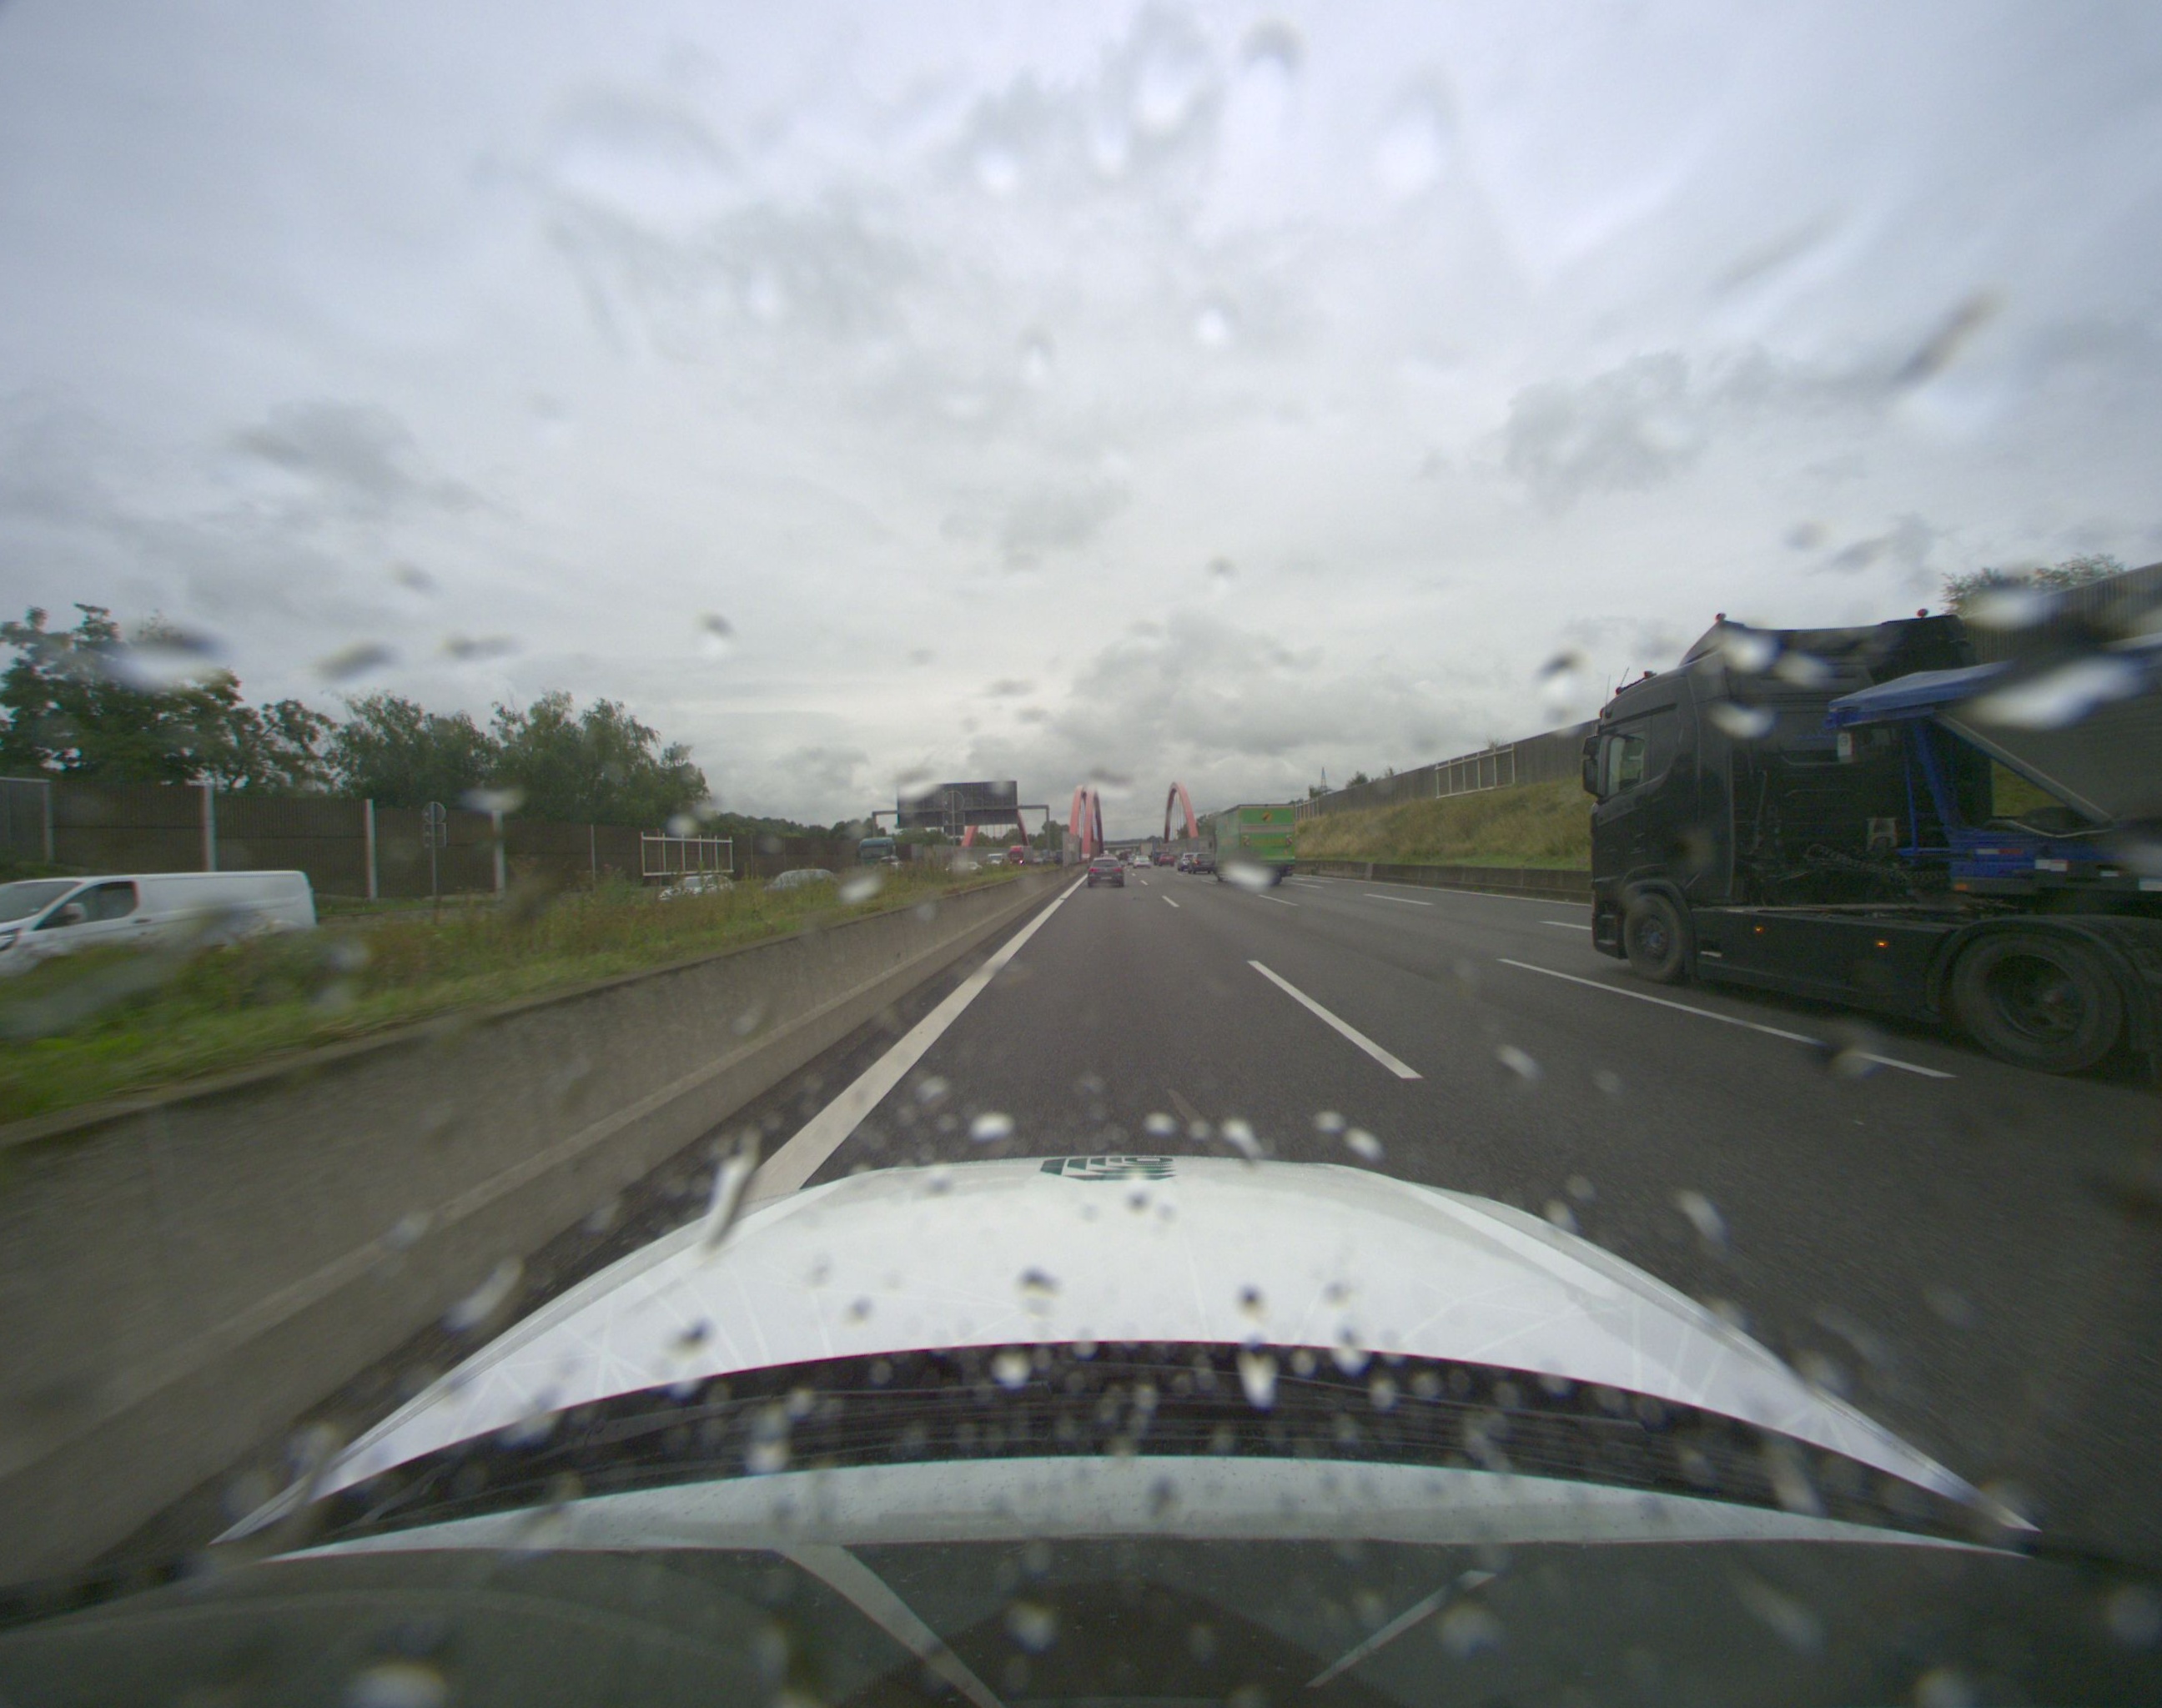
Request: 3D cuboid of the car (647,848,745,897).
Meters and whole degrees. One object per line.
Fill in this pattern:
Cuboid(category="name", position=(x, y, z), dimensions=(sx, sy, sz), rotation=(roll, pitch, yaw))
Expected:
Cuboid(category="car", position=(-16.961, 0.769, 36.183), dimensions=(1.986, 2.013, 4.654), rotation=(-1, 0, 2))

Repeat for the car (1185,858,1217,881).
Cuboid(category="car", position=(9.236, 1.165, 63.069), dimensions=(1.906, 1.670, 4.103), rotation=(-1, 0, 0))

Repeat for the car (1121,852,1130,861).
Cuboid(category="car", position=(9.811, 0.536, 180.469), dimensions=(1.986, 1.815, 4.002), rotation=(-1, 0, 2))

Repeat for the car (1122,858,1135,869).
Cuboid(category="car", position=(6.918, 1.386, 119.620), dimensions=(1.696, 1.543, 3.839), rotation=(-1, 0, 1))

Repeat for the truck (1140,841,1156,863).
Cuboid(category="truck", position=(14.445, -0.389, 175.563), dimensions=(3.032, 4.734, 7.684), rotation=(0, 0, 2))

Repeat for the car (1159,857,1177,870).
Cuboid(category="car", position=(11.018, 1.179, 103.411), dimensions=(1.950, 1.647, 4.001), rotation=(0, 0, 1))

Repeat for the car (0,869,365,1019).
Cuboid(category="car", position=(-16.209, 1.346, 14.284), dimensions=(1.900, 2.013, 5.956), rotation=(-1, 0, 2))

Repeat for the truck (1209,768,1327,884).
Cuboid(category="truck", position=(9.359, -1.238, 42.577), dimensions=(3.982, 5.266, 11.225), rotation=(0, 0, 2))

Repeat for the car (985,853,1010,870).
Cuboid(category="car", position=(-10.781, 0.932, 105.349), dimensions=(2.205, 2.013, 7.062), rotation=(-1, 0, 2))

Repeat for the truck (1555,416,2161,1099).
Cuboid(category="truck", position=(7.667, -0.578, 4.592), dimensions=(2.802, 3.950, 12.717), rotation=(-1, 0, 2))

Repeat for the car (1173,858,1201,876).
Cuboid(category="car", position=(9.621, 1.156, 73.974), dimensions=(1.986, 1.619, 5.329), rotation=(0, 0, 1))

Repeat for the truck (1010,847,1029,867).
Cuboid(category="truck", position=(-12.179, 0.582, 161.505), dimensions=(2.973, 3.753, 5.919), rotation=(-1, 0, 2))

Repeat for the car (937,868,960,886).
Cuboid(category="car", position=(-15.570, 2.727, 95.848), dimensions=(1.986, 1.980, 4.001), rotation=(-1, 0, 1))

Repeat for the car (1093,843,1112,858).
Cuboid(category="car", position=(2.386, -0.367, 90.924), dimensions=(1.986, 1.585, 4.001), rotation=(-2, 0, 1))

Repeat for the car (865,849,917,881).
Cuboid(category="car", position=(-12.658, 0.697, 54.617), dimensions=(1.986, 2.013, 5.621), rotation=(-1, 0, 2))

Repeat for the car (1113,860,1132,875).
Cuboid(category="car", position=(4.077, 1.349, 80.821), dimensions=(1.775, 1.406, 3.627), rotation=(-1, 0, 1))

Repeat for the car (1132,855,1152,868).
Cuboid(category="car", position=(6.746, 0.819, 90.456), dimensions=(1.986, 1.486, 4.001), rotation=(-1, 0, 1))

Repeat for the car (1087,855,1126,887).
Cuboid(category="car", position=(1.272, 0.796, 39.568), dimensions=(1.757, 1.453, 4.002), rotation=(-1, 0, 2))

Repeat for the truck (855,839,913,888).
Cuboid(category="truck", position=(-16.179, 0.733, 67.416), dimensions=(2.852, 3.838, 7.524), rotation=(0, 0, 1))

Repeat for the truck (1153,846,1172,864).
Cuboid(category="truck", position=(11.745, 0.141, 118.020), dimensions=(2.352, 2.506, 6.147), rotation=(-1, 0, 2))
